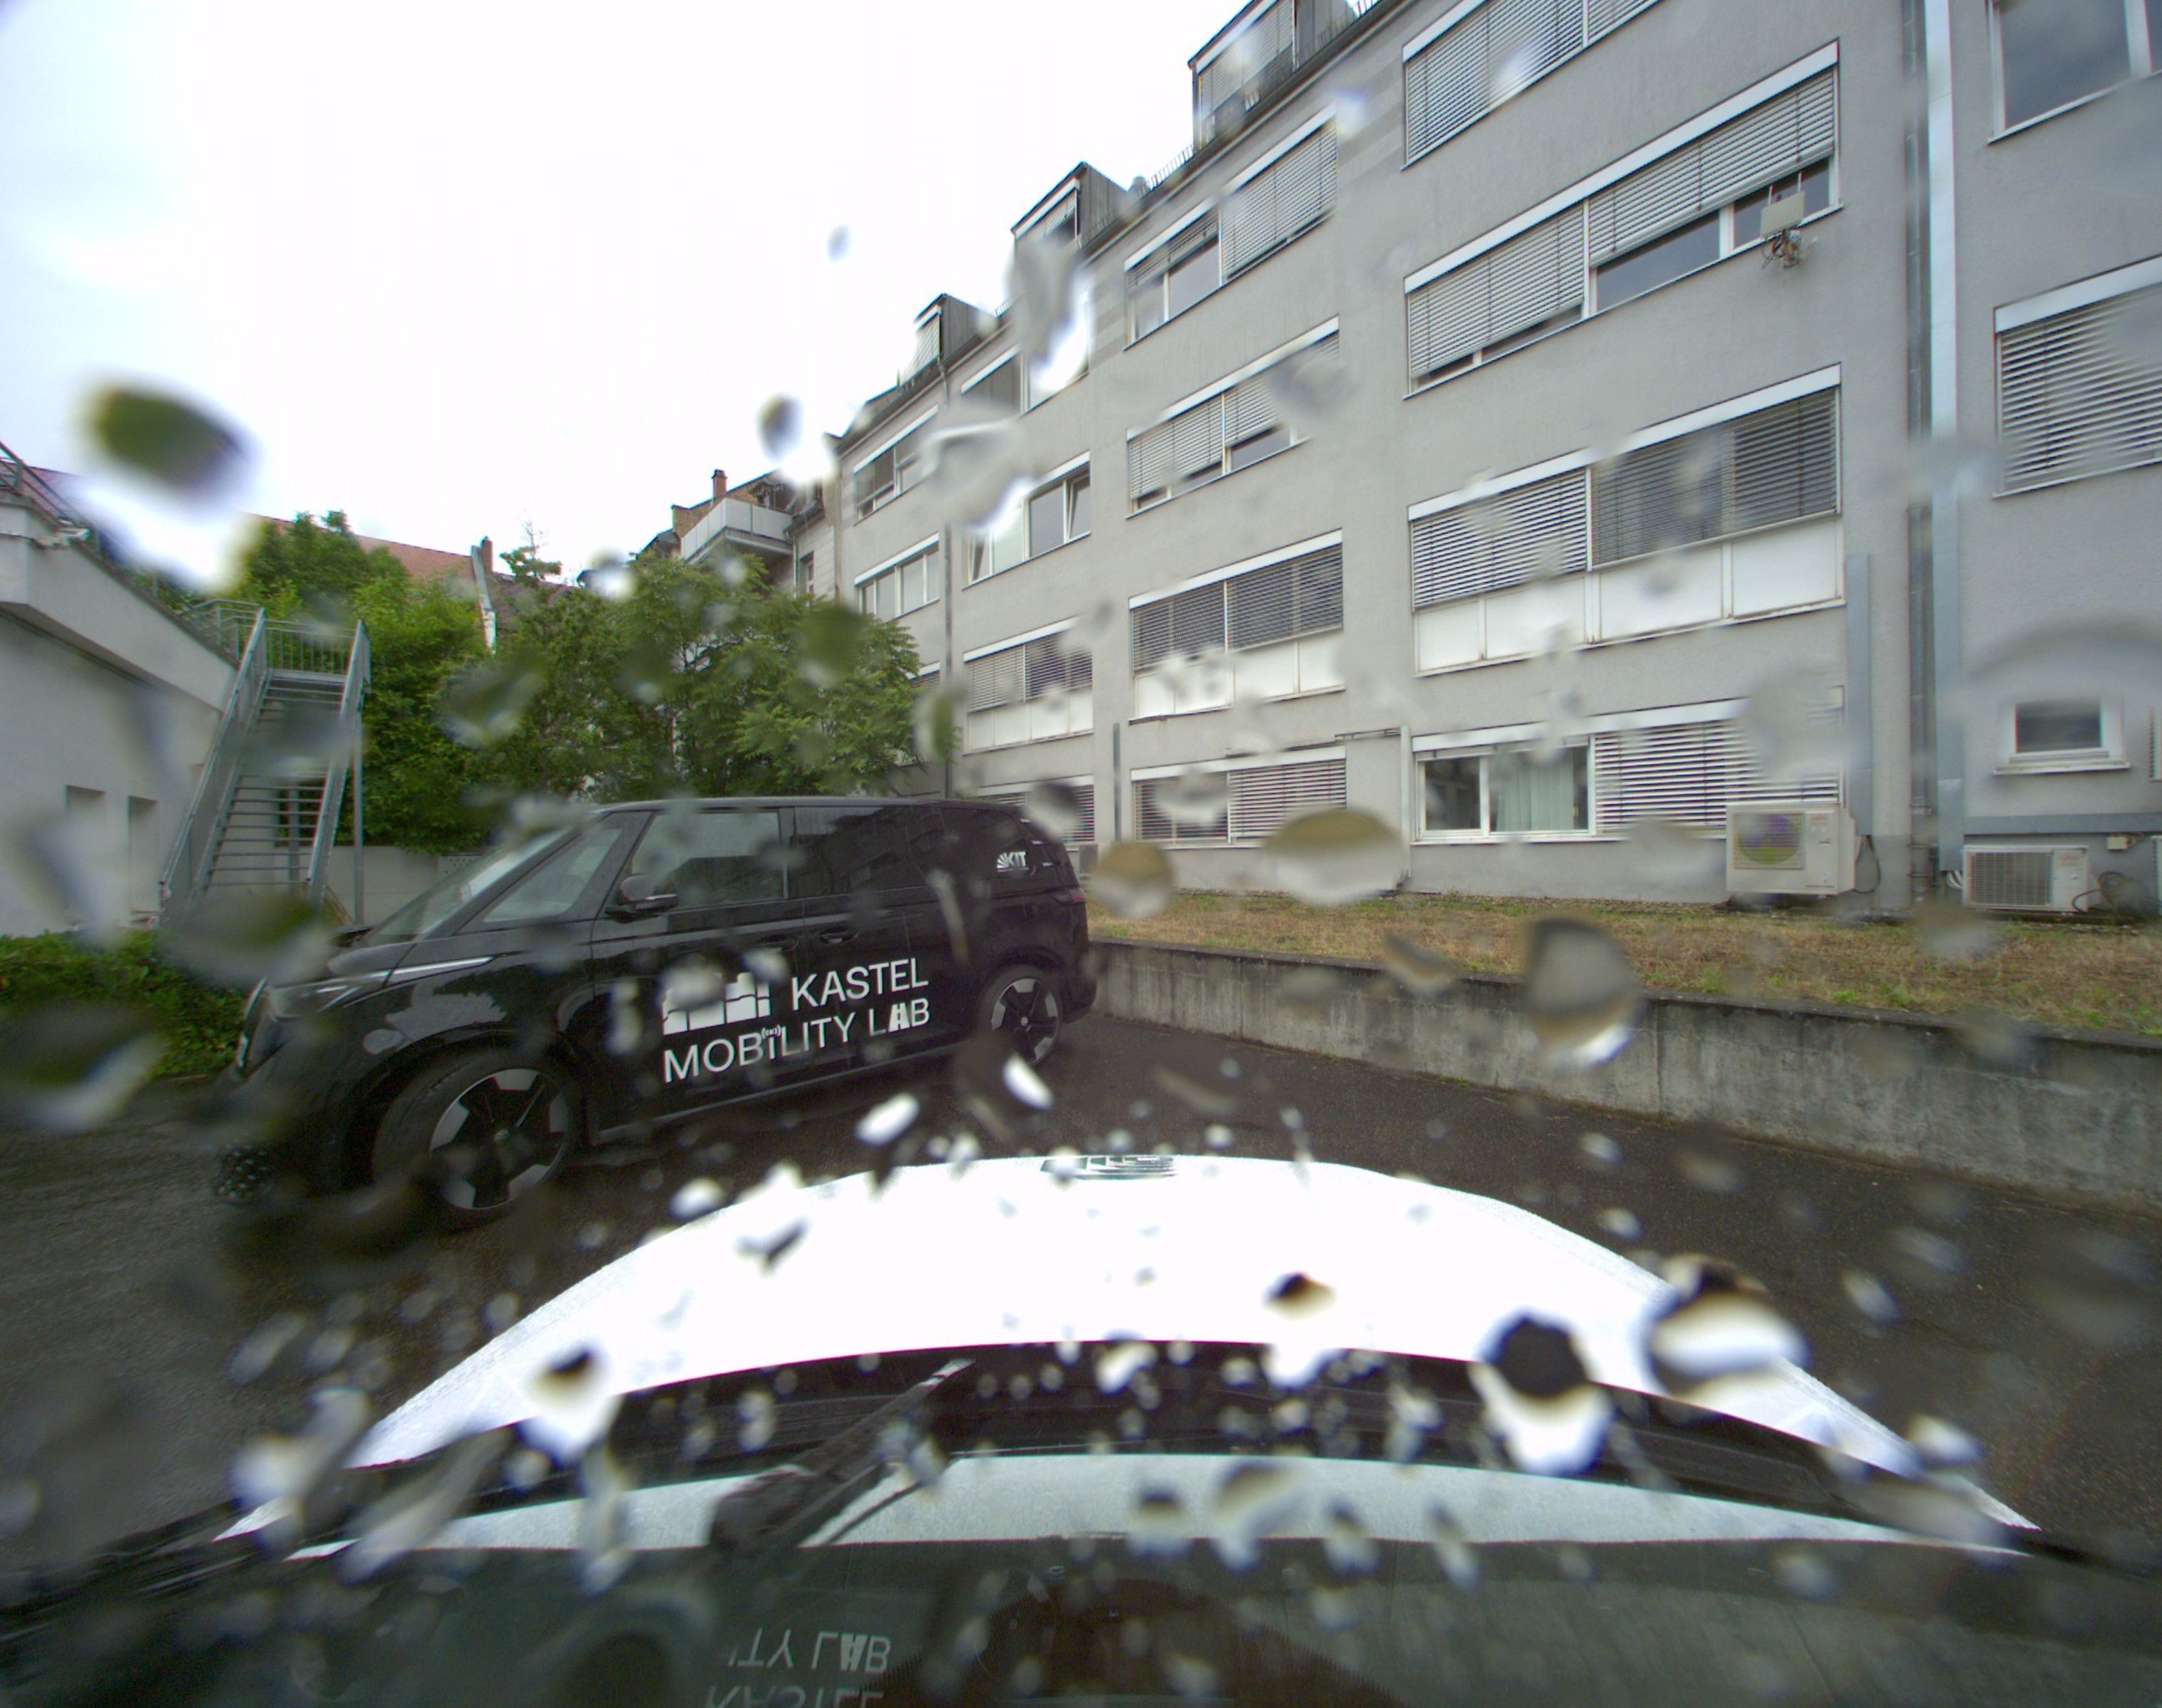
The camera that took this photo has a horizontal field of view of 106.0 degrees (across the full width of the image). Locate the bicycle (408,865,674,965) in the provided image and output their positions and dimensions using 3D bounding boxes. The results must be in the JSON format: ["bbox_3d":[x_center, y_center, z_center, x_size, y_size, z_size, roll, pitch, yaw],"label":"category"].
[{"bbox_3d":[-7.948,0.838,12.185,3.241,1.242,0.623,-1,-1,-40],"label":"bicycle"}]

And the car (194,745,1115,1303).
[{"bbox_3d":[-2.097,0.558,5.097,4.549,1.897,2.021,-1,0,-45],"label":"car"}]

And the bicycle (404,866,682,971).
[{"bbox_3d":[-7.544,0.841,11.622,3.241,1.242,0.623,-1,-1,-40],"label":"bicycle"}]

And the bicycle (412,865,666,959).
[{"bbox_3d":[-8.341,0.835,12.722,3.241,1.242,0.623,-1,-1,-40],"label":"bicycle"}]

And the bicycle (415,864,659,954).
[{"bbox_3d":[-8.728,0.832,13.239,3.241,1.242,0.623,-1,-1,-40],"label":"bicycle"}]
